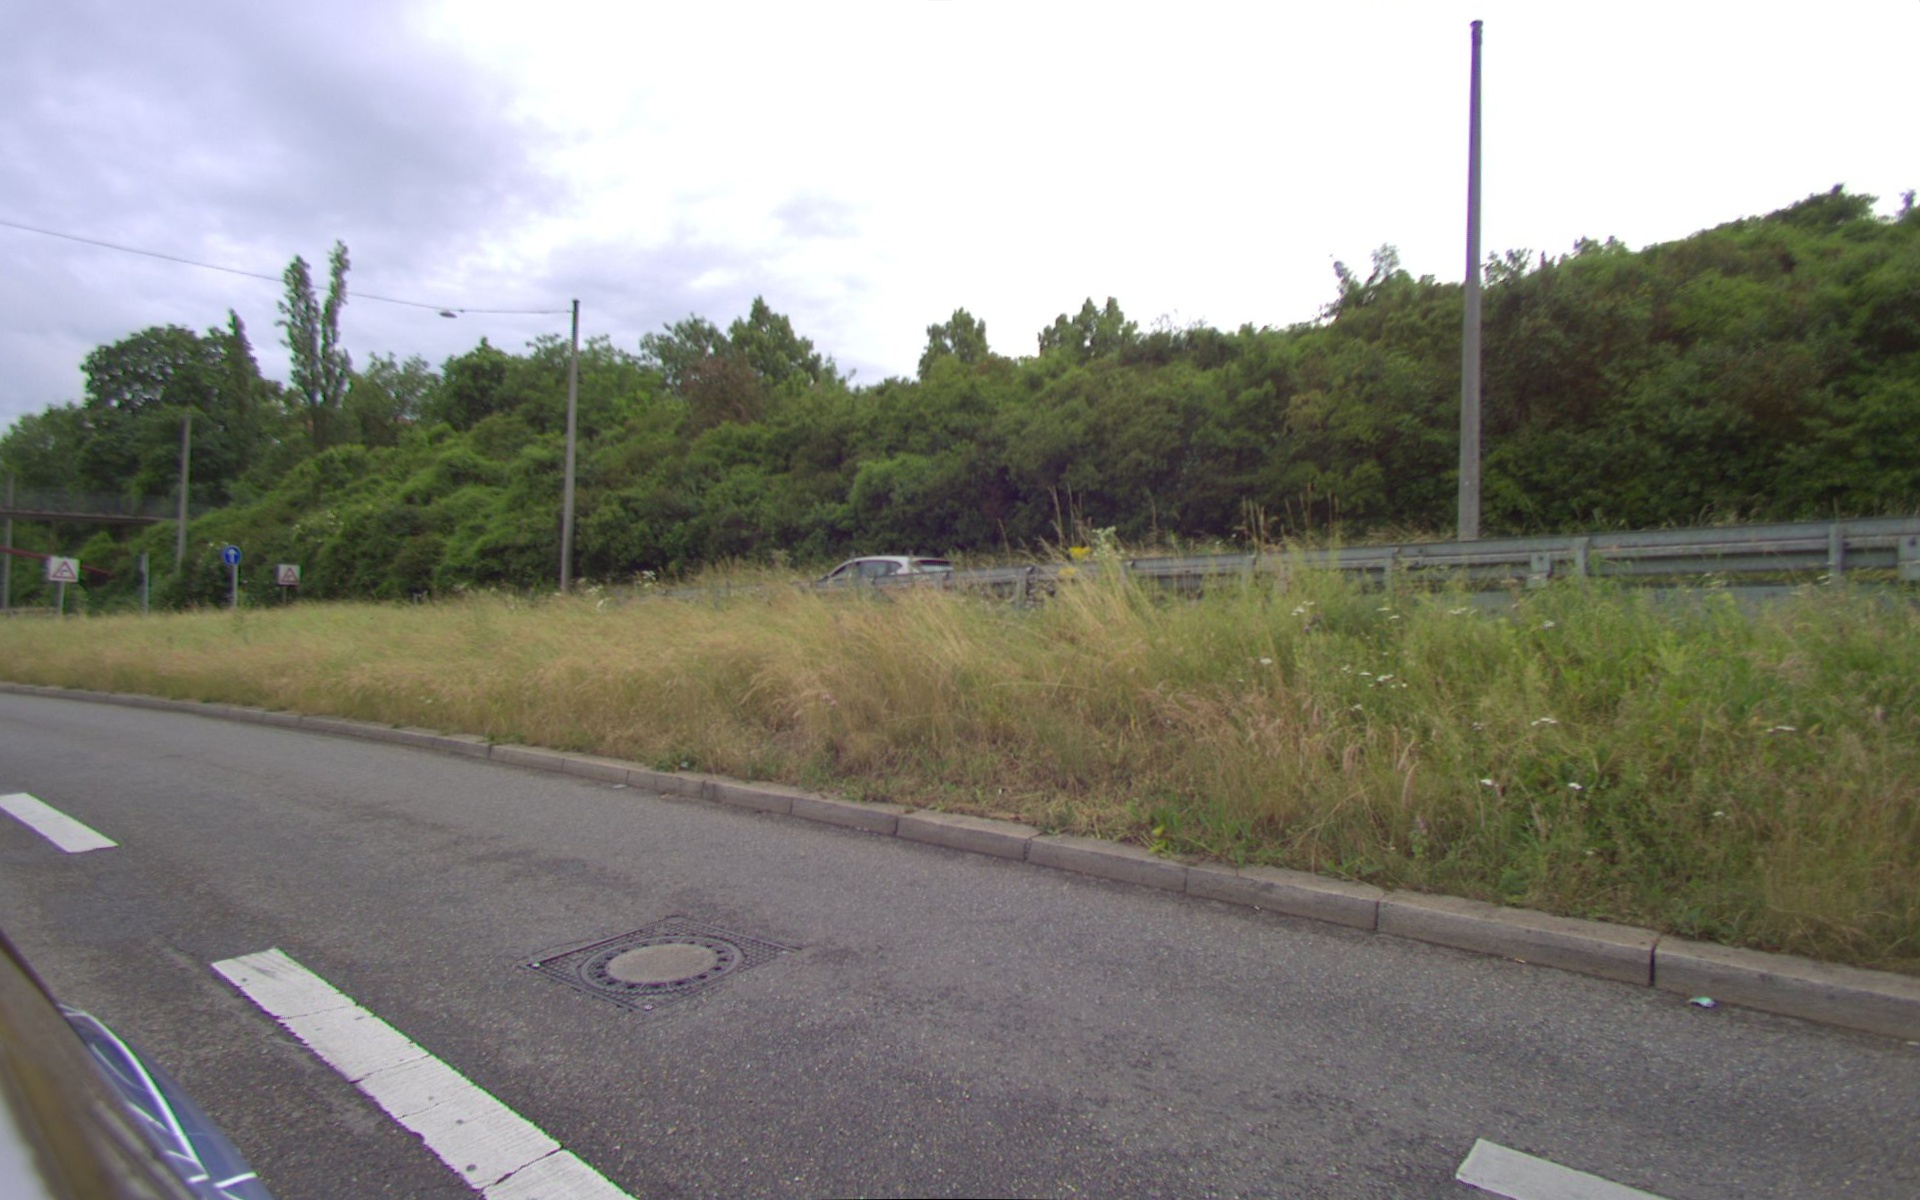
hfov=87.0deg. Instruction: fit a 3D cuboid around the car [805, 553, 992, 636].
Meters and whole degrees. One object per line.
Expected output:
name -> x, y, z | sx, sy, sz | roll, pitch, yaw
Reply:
car -> -1.306, -0.049, 20.716 | 3.676, 1.529, 1.717 | -2, -3, 41
